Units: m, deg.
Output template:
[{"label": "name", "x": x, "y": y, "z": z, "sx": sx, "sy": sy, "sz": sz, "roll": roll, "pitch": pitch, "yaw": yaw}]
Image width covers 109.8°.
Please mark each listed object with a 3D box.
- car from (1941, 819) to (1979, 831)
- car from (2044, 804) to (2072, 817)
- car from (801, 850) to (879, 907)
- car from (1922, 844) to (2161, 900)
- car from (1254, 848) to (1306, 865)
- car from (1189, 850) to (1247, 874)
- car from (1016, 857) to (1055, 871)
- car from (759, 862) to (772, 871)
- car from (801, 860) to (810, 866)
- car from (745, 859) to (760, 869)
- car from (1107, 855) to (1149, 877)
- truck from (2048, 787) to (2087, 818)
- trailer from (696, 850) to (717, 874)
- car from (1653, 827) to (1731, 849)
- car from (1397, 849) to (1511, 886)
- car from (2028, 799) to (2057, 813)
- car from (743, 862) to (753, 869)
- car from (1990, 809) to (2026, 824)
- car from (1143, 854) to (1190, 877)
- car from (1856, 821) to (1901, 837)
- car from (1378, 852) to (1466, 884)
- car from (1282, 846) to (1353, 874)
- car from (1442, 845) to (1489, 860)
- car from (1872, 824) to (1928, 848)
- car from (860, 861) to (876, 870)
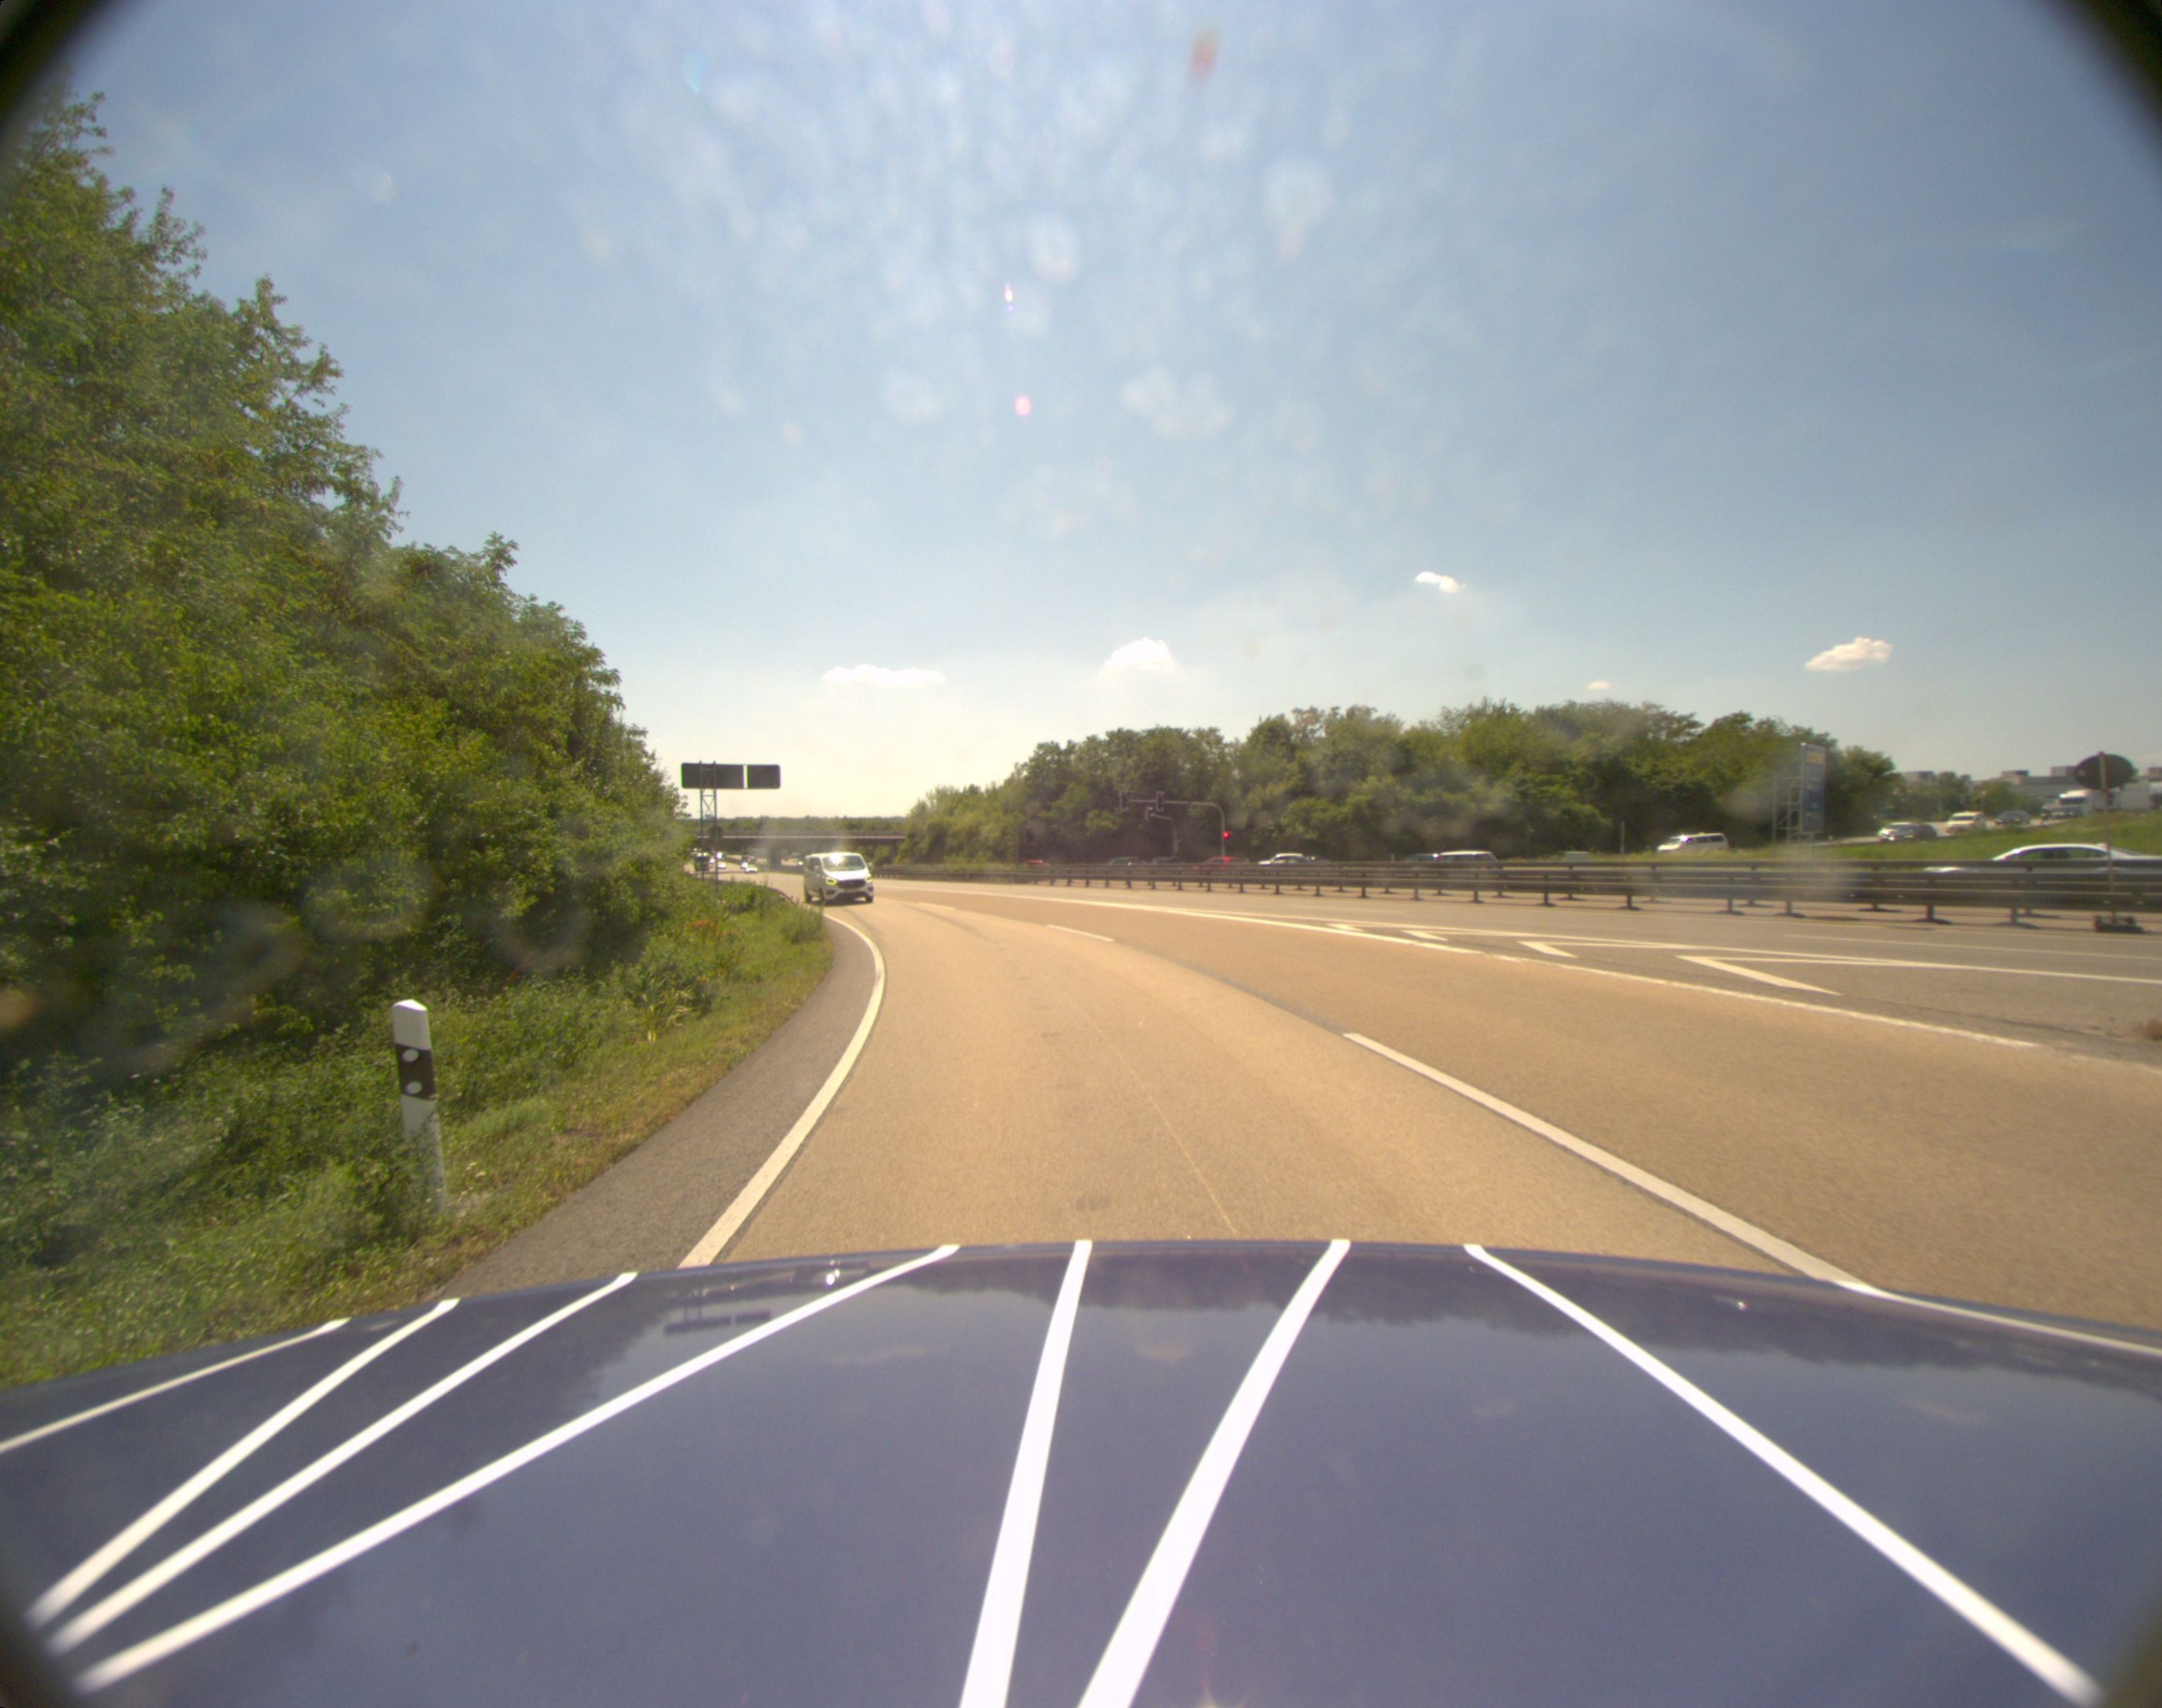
[{"label": "car", "x": 86.367, "y": -2.855, "z": 74.655, "sx": 4.082, "sy": 1.159, "sz": 1.529, "roll": -1, "pitch": 0, "yaw": -28}, {"label": "car", "x": 118.948, "y": -5.235, "z": 92.503, "sx": 3.576, "sy": 1.424, "sz": 1.596, "roll": -1, "pitch": 0, "yaw": -31}, {"label": "car", "x": -9.937, "y": 0.937, "z": 31.013, "sx": 2.066, "sy": 2.002, "sz": 5.030, "roll": -5, "pitch": 2, "yaw": -27}, {"label": "car", "x": 28.561, "y": 0.506, "z": 22.589, "sx": 1.706, "sy": 1.476, "sz": 4.525, "roll": -2, "pitch": 0, "yaw": -31}, {"label": "car", "x": 16.018, "y": 0.230, "z": 61.203, "sx": 3.938, "sy": 1.215, "sz": 1.711, "roll": -2, "pitch": 1, "yaw": 16}, {"label": "car", "x": 8.802, "y": 0.552, "z": 49.060, "sx": 1.569, "sy": 1.441, "sz": 3.695, "roll": -2, "pitch": 0, "yaw": -34}, {"label": "car", "x": -4.248, "y": 0.914, "z": 71.358, "sx": 3.360, "sy": 1.215, "sz": 1.713, "roll": -1, "pitch": 1, "yaw": 39}, {"label": "car", "x": -60.628, "y": 2.474, "z": 146.092, "sx": 2.002, "sy": 1.622, "sz": 4.464, "roll": -2, "pitch": 0, "yaw": -26}, {"label": "car", "x": -74.512, "y": 2.436, "z": 205.334, "sx": 1.761, "sy": 1.516, "sz": 4.463, "roll": -2, "pitch": 0, "yaw": -28}, {"label": "car", "x": -56.111, "y": 1.725, "z": 129.784, "sx": 2.002, "sy": 1.622, "sz": 4.464, "roll": -2, "pitch": 0, "yaw": -26}, {"label": "car", "x": 2.747, "y": 0.687, "z": 45.032, "sx": 1.158, "sy": 1.229, "sz": 2.722, "roll": -2, "pitch": 0, "yaw": -30}, {"label": "truck", "x": 136.377, "y": -7.082, "z": 105.051, "sx": 4.006, "sy": 4.134, "sz": 2.825, "roll": -2, "pitch": 1, "yaw": -30}, {"label": "trailer", "x": -84.220, "y": 1.817, "z": 170.809, "sx": 3.977, "sy": 4.923, "sz": 15.967, "roll": -2, "pitch": 0, "yaw": -27}, {"label": "car", "x": 49.088, "y": -1.291, "z": 61.061, "sx": 5.114, "sy": 1.631, "sz": 2.016, "roll": -1, "pitch": 0, "yaw": -11}, {"label": "car", "x": 14.977, "y": 0.546, "z": 30.697, "sx": 1.521, "sy": 1.340, "sz": 3.913, "roll": -2, "pitch": 0, "yaw": -30}, {"label": "car", "x": 112.259, "y": -5.580, "z": 88.680, "sx": 3.576, "sy": 1.424, "sz": 1.596, "roll": -1, "pitch": 0, "yaw": -31}, {"label": "car", "x": -82.133, "y": 2.816, "z": 187.576, "sx": 2.002, "sy": 1.622, "sz": 4.464, "roll": -2, "pitch": 0, "yaw": -26}, {"label": "car", "x": 100.699, "y": -4.078, "z": 82.527, "sx": 3.755, "sy": 1.424, "sz": 1.597, "roll": -1, "pitch": 0, "yaw": -26}, {"label": "car", "x": 5.271, "y": 0.715, "z": 47.159, "sx": 1.346, "sy": 1.341, "sz": 3.010, "roll": -2, "pitch": 0, "yaw": -30}, {"label": "car", "x": 73.391, "y": -2.324, "z": 69.915, "sx": 3.471, "sy": 1.328, "sz": 1.690, "roll": -2, "pitch": 1, "yaw": -23}, {"label": "car", "x": 16.335, "y": 0.667, "z": 36.579, "sx": 1.489, "sy": 1.441, "sz": 3.659, "roll": -2, "pitch": 0, "yaw": -30}, {"label": "car", "x": 13.006, "y": 0.336, "z": 41.987, "sx": 1.656, "sy": 1.385, "sz": 3.563, "roll": -2, "pitch": 0, "yaw": -30}, {"label": "car", "x": 32.505, "y": -0.117, "z": 64.241, "sx": 3.172, "sy": 1.142, "sz": 1.631, "roll": -2, "pitch": 1, "yaw": 6}, {"label": "car", "x": 66.073, "y": -1.453, "z": 61.292, "sx": 4.222, "sy": 1.698, "sz": 1.996, "roll": -2, "pitch": 0, "yaw": -28}, {"label": "car", "x": -37.318, "y": 1.993, "z": 133.368, "sx": 1.721, "sy": 1.559, "sz": 3.991, "roll": -2, "pitch": 0, "yaw": -30}]
